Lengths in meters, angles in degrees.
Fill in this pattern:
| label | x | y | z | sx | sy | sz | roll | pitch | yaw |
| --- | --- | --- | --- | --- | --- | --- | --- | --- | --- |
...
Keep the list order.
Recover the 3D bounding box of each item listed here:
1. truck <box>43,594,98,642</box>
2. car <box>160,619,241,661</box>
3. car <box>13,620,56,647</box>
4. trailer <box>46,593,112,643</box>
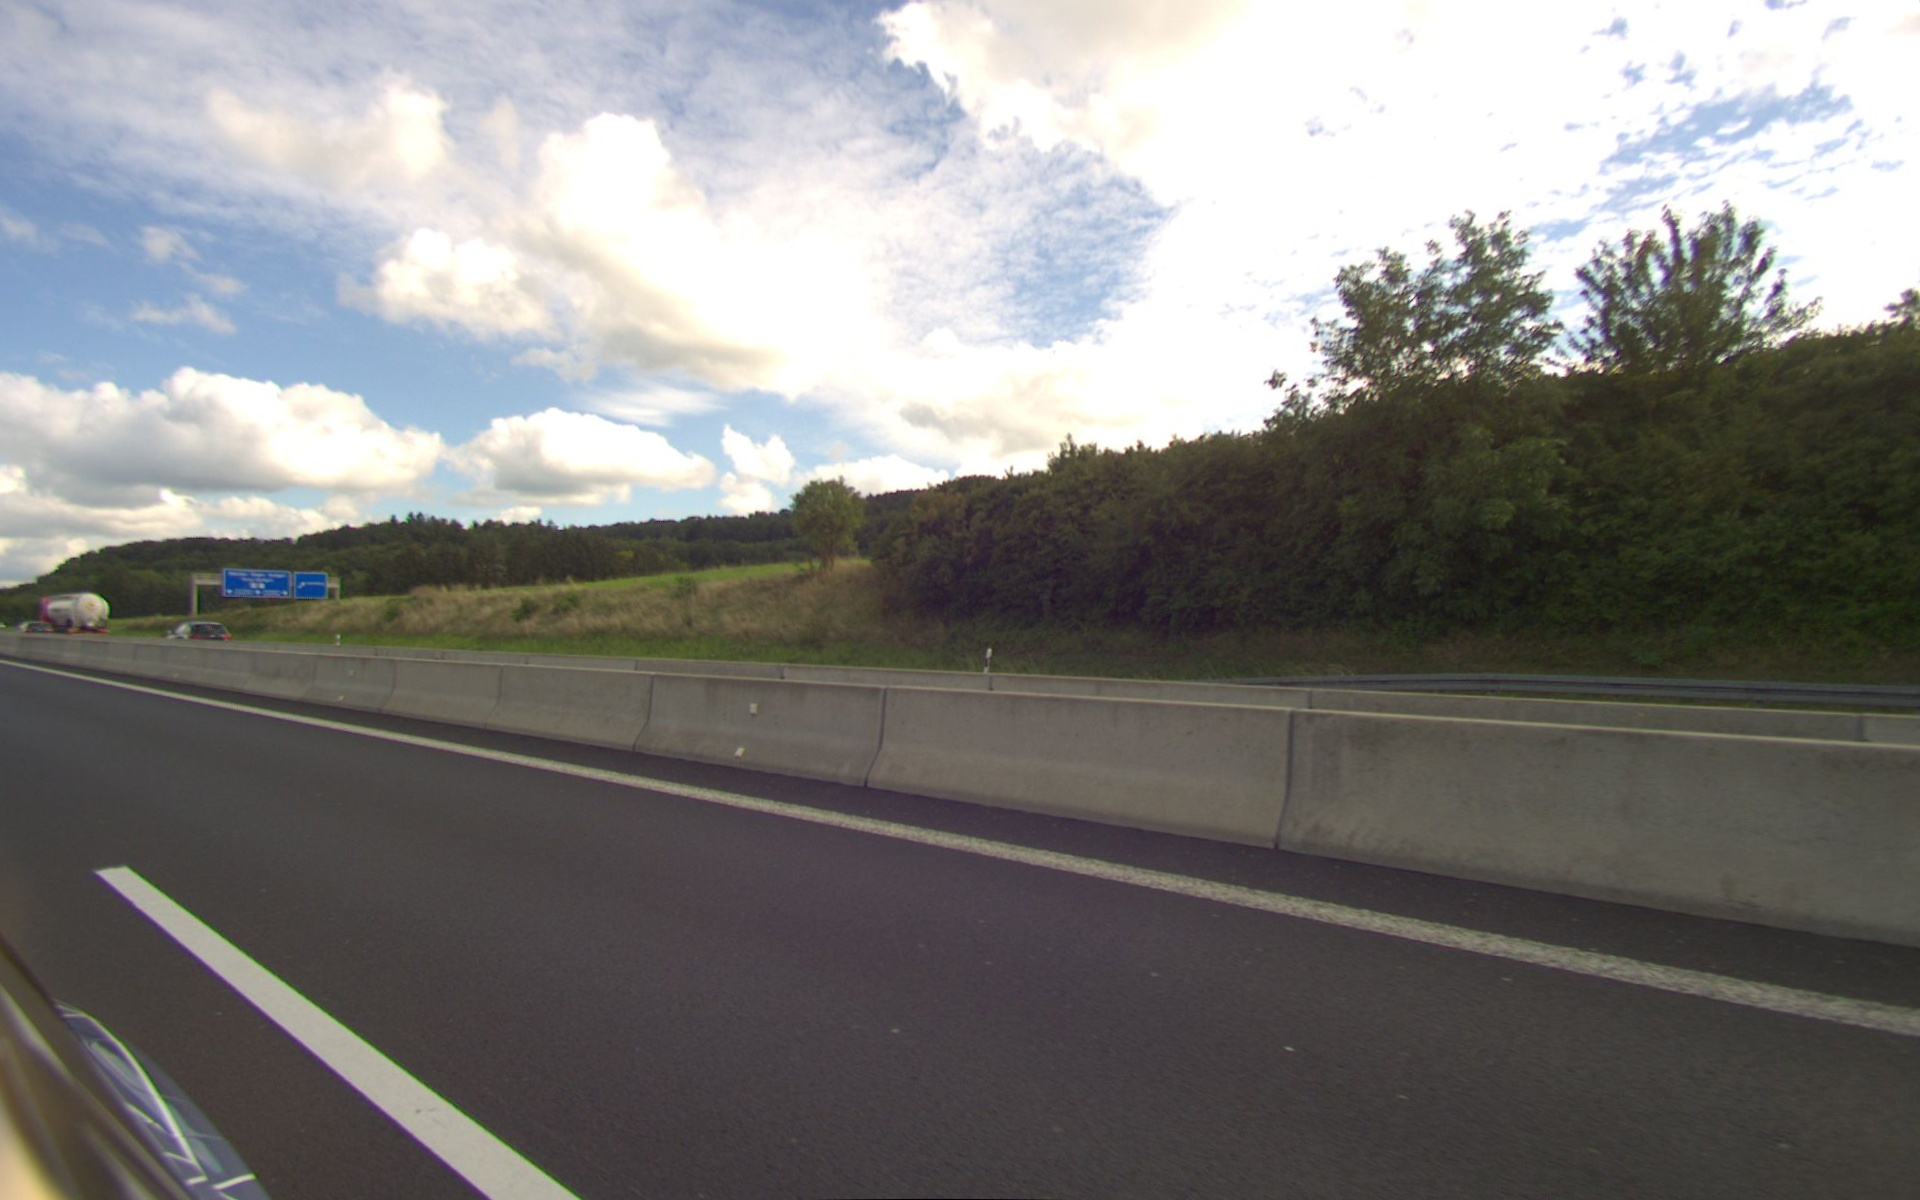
| label | x | y | z | sx | sy | sz | roll | pitch | yaw |
| --- | --- | --- | --- | --- | --- | --- | --- | --- | --- |
| truck | -77.048 | 1.567 | 87.600 | 6.899 | 3.954 | 2.708 | -1 | -3 | 42 |
| car | -33.209 | 1.724 | 44.224 | 3.998 | 1.730 | 1.973 | -1 | -3 | 41 |
| car | -65.776 | 2.344 | 71.913 | 4.395 | 1.846 | 1.788 | -1 | -3 | 42 |
| trailer | -73.527 | 1.509 | 84.372 | 11.157 | 3.916 | 2.684 | -1 | -3 | 42 |
